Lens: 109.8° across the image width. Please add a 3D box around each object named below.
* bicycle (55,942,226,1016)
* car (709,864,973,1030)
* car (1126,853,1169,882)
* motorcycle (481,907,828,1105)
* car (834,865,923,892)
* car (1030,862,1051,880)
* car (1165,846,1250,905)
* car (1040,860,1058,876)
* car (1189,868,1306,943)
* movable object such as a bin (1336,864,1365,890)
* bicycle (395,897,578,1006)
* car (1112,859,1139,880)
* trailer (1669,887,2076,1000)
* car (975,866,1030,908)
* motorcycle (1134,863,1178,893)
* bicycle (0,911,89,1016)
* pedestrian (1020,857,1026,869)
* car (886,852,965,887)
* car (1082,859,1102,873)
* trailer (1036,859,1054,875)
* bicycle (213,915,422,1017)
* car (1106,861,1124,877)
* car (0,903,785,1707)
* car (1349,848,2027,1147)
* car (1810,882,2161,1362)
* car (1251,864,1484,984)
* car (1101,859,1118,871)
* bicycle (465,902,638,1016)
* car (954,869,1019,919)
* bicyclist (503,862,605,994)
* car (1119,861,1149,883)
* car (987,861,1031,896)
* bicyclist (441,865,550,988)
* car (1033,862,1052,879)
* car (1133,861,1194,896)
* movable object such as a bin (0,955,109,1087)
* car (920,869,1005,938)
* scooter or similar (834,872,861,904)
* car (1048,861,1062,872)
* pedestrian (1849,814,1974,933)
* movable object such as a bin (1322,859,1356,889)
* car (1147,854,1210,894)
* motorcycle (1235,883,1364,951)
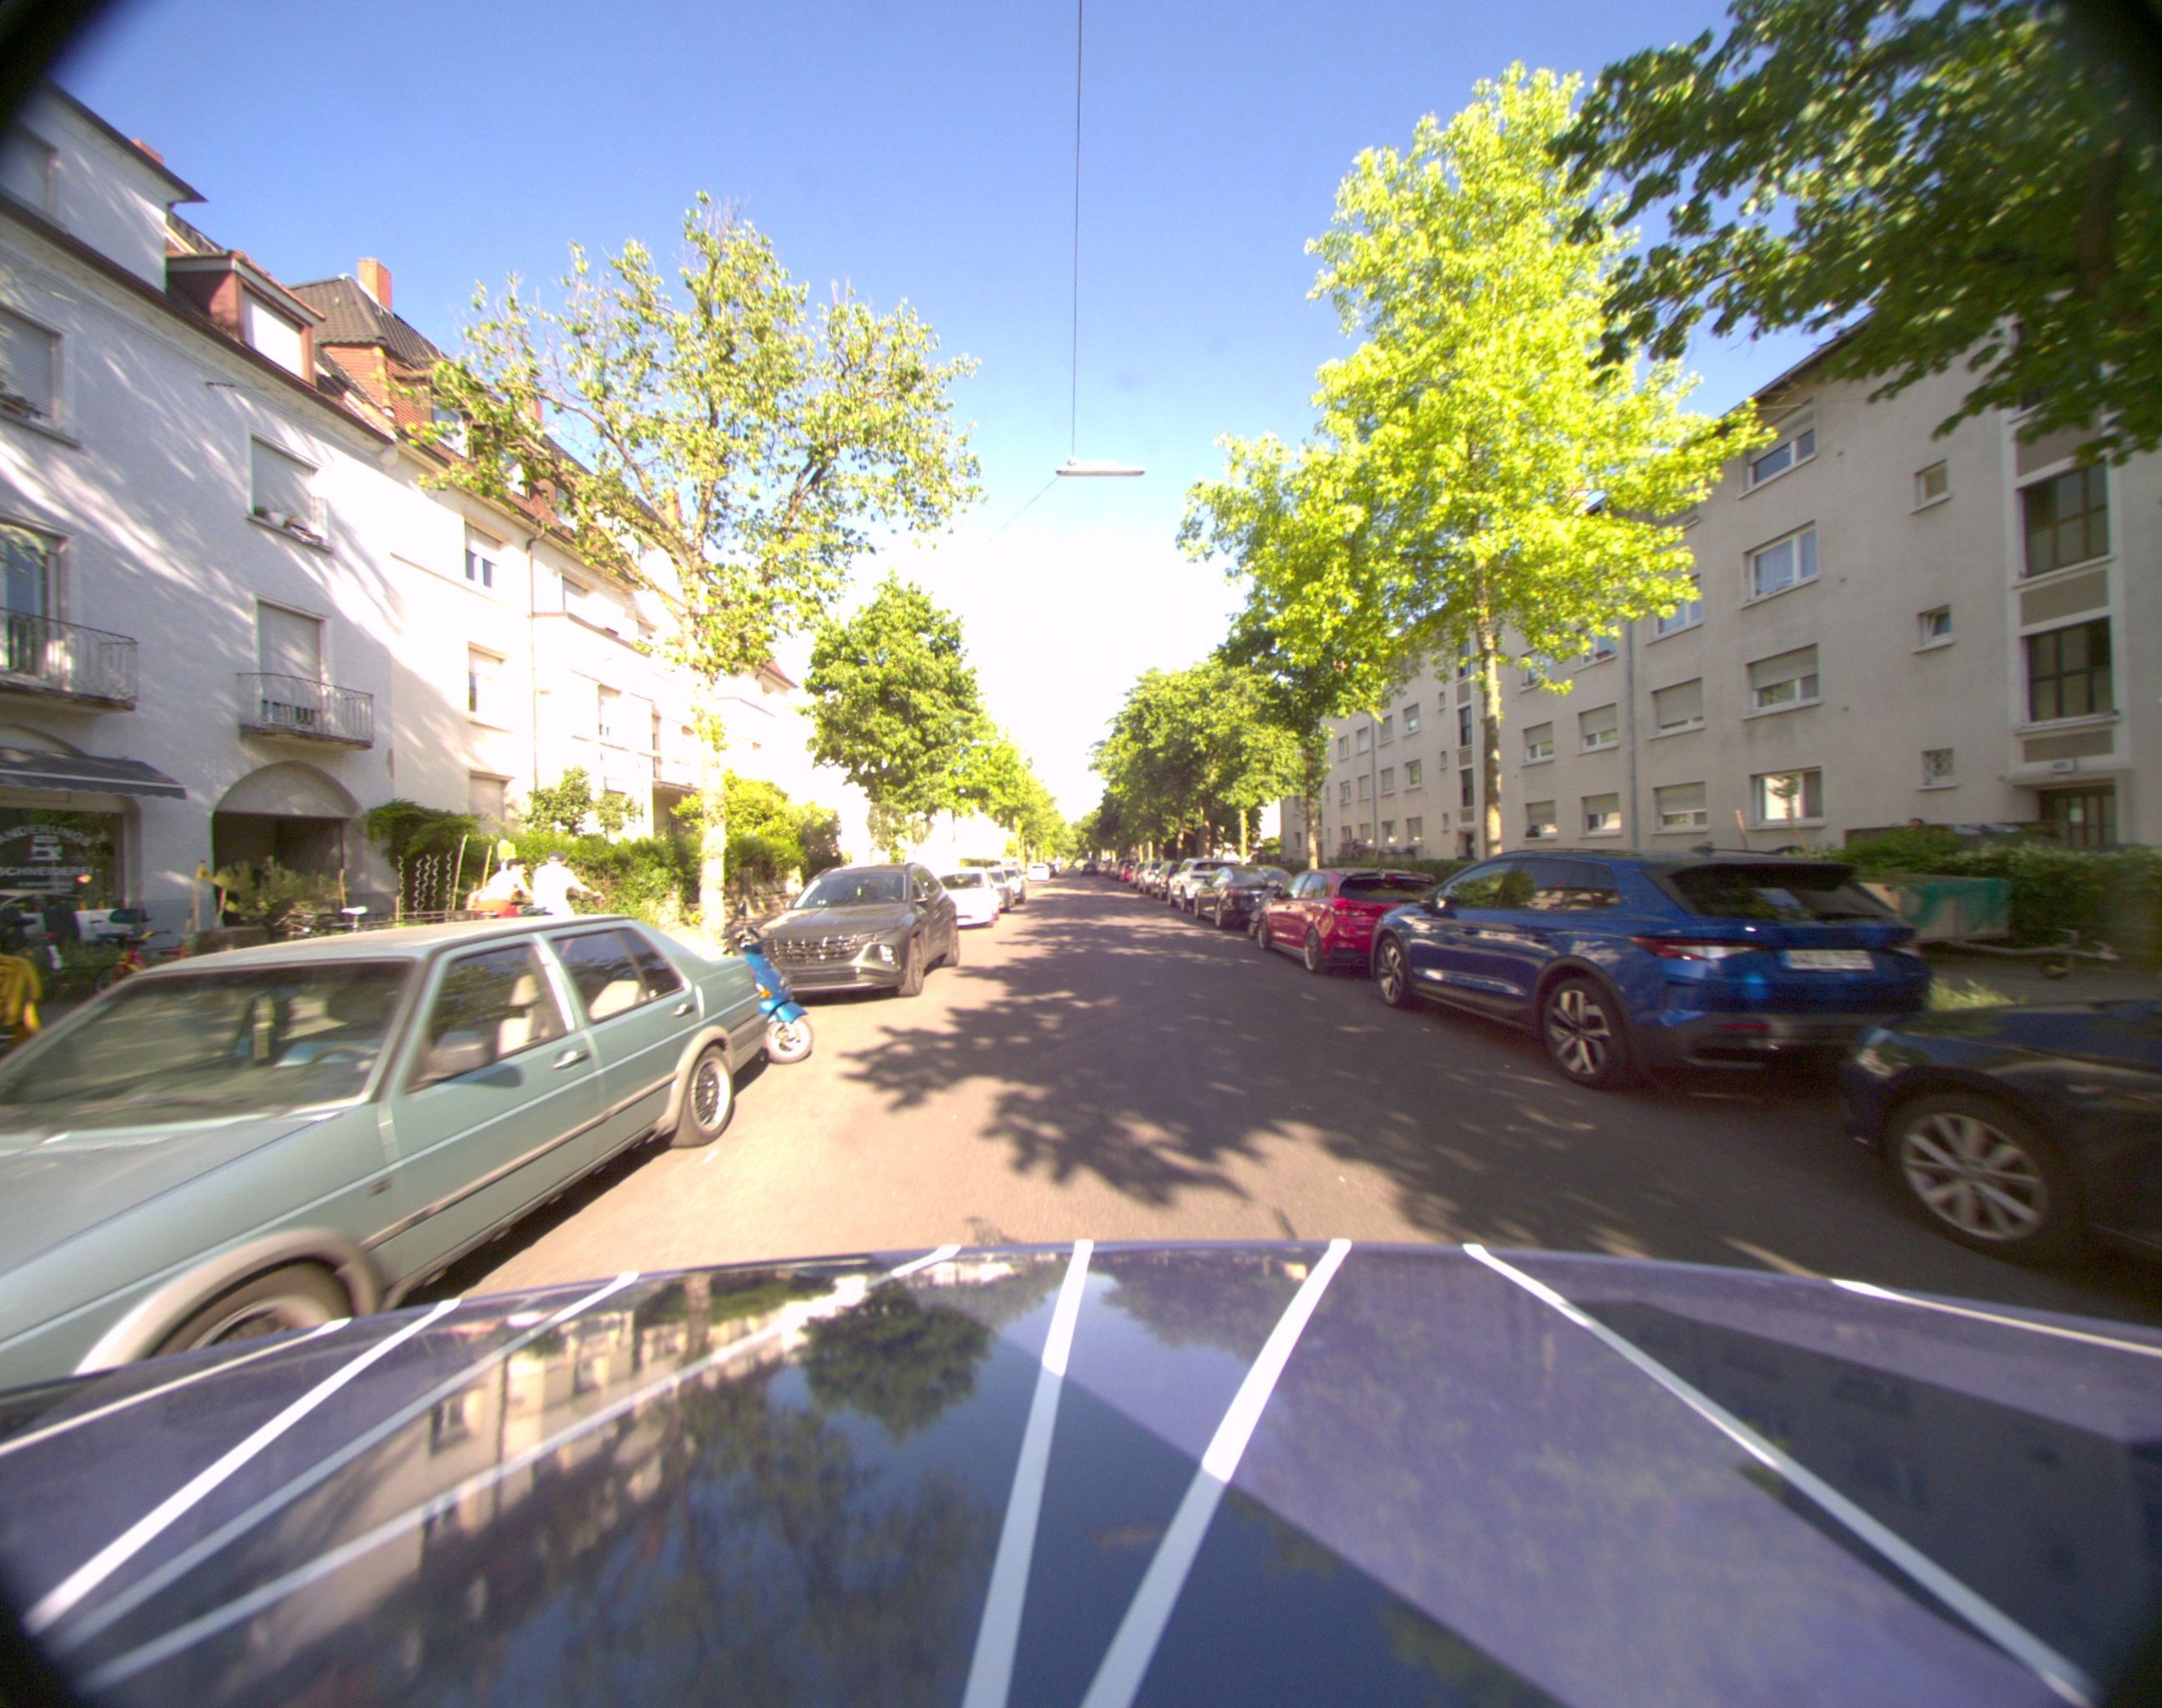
[{"bbox_3d":[-10.491,1.386,8.496,1.366,0.752,0.471,0,0,2],"label":"bicycle"},{"bbox_3d":[-2.905,1.027,10.613,1.930,1.642,5.095,-3,0,1],"label":"car"},{"bbox_3d":[3.710,0.730,43.253,2.048,1.515,4.606,-2,0,0],"label":"car"},{"bbox_3d":[-3.355,1.180,6.130,2.358,1.414,0.687,-1,0,-1],"label":"motorcycle"},{"bbox_3d":[-12.154,1.467,45.688,4.725,1.461,1.955,-1,0,14],"label":"car"},{"bbox_3d":[-3.501,1.478,66.619,1.737,1.478,4.008,-2,0,-2],"label":"car"},{"bbox_3d":[3.769,0.607,23.412,1.733,1.608,4.365,-2,0,-2],"label":"car"},{"bbox_3d":[-3.613,1.582,86.260,1.797,1.633,4.818,-3,0,-1],"label":"car"},{"bbox_3d":[3.878,1.142,18.458,1.733,1.469,4.619,2,0,0],"label":"car"},{"bbox_3d":[11.650,0.995,32.888,0.932,1.086,0.754,0,0,-6],"label":"movable object such as a bin"},{"bbox_3d":[-7.816,1.222,10.184,0.685,1.146,2.402,-1,0,-4],"label":"bicycle"},{"bbox_3d":[3.561,1.214,61.106,1.772,1.678,4.813,0,0,-2],"label":"car"},{"bbox_3d":[9.631,1.019,9.665,1.793,1.028,3.281,-1,0,1],"label":"trailer"},{"bbox_3d":[-3.109,1.260,30.909,1.826,1.461,4.908,-3,0,-2],"label":"car"},{"bbox_3d":[3.875,1.218,39.527,0.992,1.495,2.227,0,0,-41],"label":"motorcycle"},{"bbox_3d":[-12.413,1.204,8.510,1.901,1.094,0.583,0,0,2],"label":"bicycle"},{"bbox_3d":[-9.394,1.491,122.705,0.907,2.002,1.006,0,0,0],"label":"pedestrian"},{"bbox_3d":[-10.961,1.055,53.517,5.063,2.292,2.230,-1,0,-24],"label":"car"},{"bbox_3d":[1.153,1.227,81.247,1.814,1.437,4.365,1,0,-2],"label":"car"},{"bbox_3d":[-3.870,1.415,81.540,1.578,1.569,3.192,-3,0,1],"label":"trailer"},{"bbox_3d":[-9.125,1.292,9.208,0.582,0.969,1.903,0,0,1],"label":"bicycle"},{"bbox_3d":[3.413,1.453,76.984,1.710,1.568,4.482,0,0,0],"label":"car"},{"bbox_3d":[-2.980,1.102,3.096,1.755,1.445,4.462,-3,0,-1],"label":"car"},{"bbox_3d":[4.037,0.784,6.266,1.794,1.557,4.464,2,0,-4],"label":"car"},{"bbox_3d":[4.264,0.842,1.404,1.834,1.444,4.122,0,0,-1],"label":"car"},{"bbox_3d":[3.895,0.867,11.203,1.784,1.371,4.262,1,0,0],"label":"car"},{"bbox_3d":[3.282,1.228,88.794,1.658,1.365,4.188,0,0,-2],"label":"car"},{"bbox_3d":[-6.736,1.278,9.871,0.685,1.146,2.402,-1,0,-4],"label":"bicycle"},{"bbox_3d":[-3.123,1.286,25.920,1.715,1.402,4.861,-3,0,-2],"label":"car"},{"bbox_3d":[-6.733,0.904,9.748,0.679,1.600,0.921,-1,0,-4],"label":"bicyclist"},{"bbox_3d":[3.793,1.269,54.849,1.861,1.461,4.182,-1,0,0],"label":"car"},{"bbox_3d":[-3.612,1.184,38.686,1.901,1.515,4.965,-2,1,-2],"label":"car"},{"bbox_3d":[-7.827,0.930,10.207,0.678,1.544,1.021,-1,0,-4],"label":"bicyclist"},{"bbox_3d":[-3.588,1.557,71.189,1.674,1.442,4.178,-3,0,-2],"label":"car"},{"bbox_3d":[3.770,1.095,35.548,2.070,1.515,4.720,-1,0,-4],"label":"car"},{"bbox_3d":[-8.903,1.331,5.705,1.222,0.899,1.667,-1,0,20],"label":"movable object such as a bin"},{"bbox_3d":[-3.038,1.223,20.194,1.658,1.523,3.968,-3,0,-2],"label":"car"},{"bbox_3d":[-9.120,1.320,29.725,0.402,1.178,1.207,-1,-1,14],"label":"scooter or similar"},{"bbox_3d":[-3.682,1.718,106.496,1.786,1.509,4.685,-2,0,-5],"label":"car"},{"bbox_3d":[13.643,0.315,12.520,0.935,1.877,1.026,-1,0,1],"label":"pedestrian"},{"bbox_3d":[11.525,0.886,33.936,0.932,1.316,1.378,0,0,-6],"label":"movable object such as a bin"},{"bbox_3d":[3.790,0.770,30.363,1.733,1.438,4.820,1,-1,-1],"label":"car"},{"bbox_3d":[4.259,1.211,14.836,2.293,1.263,0.807,1,0,-11],"label":"motorcycle"}]
